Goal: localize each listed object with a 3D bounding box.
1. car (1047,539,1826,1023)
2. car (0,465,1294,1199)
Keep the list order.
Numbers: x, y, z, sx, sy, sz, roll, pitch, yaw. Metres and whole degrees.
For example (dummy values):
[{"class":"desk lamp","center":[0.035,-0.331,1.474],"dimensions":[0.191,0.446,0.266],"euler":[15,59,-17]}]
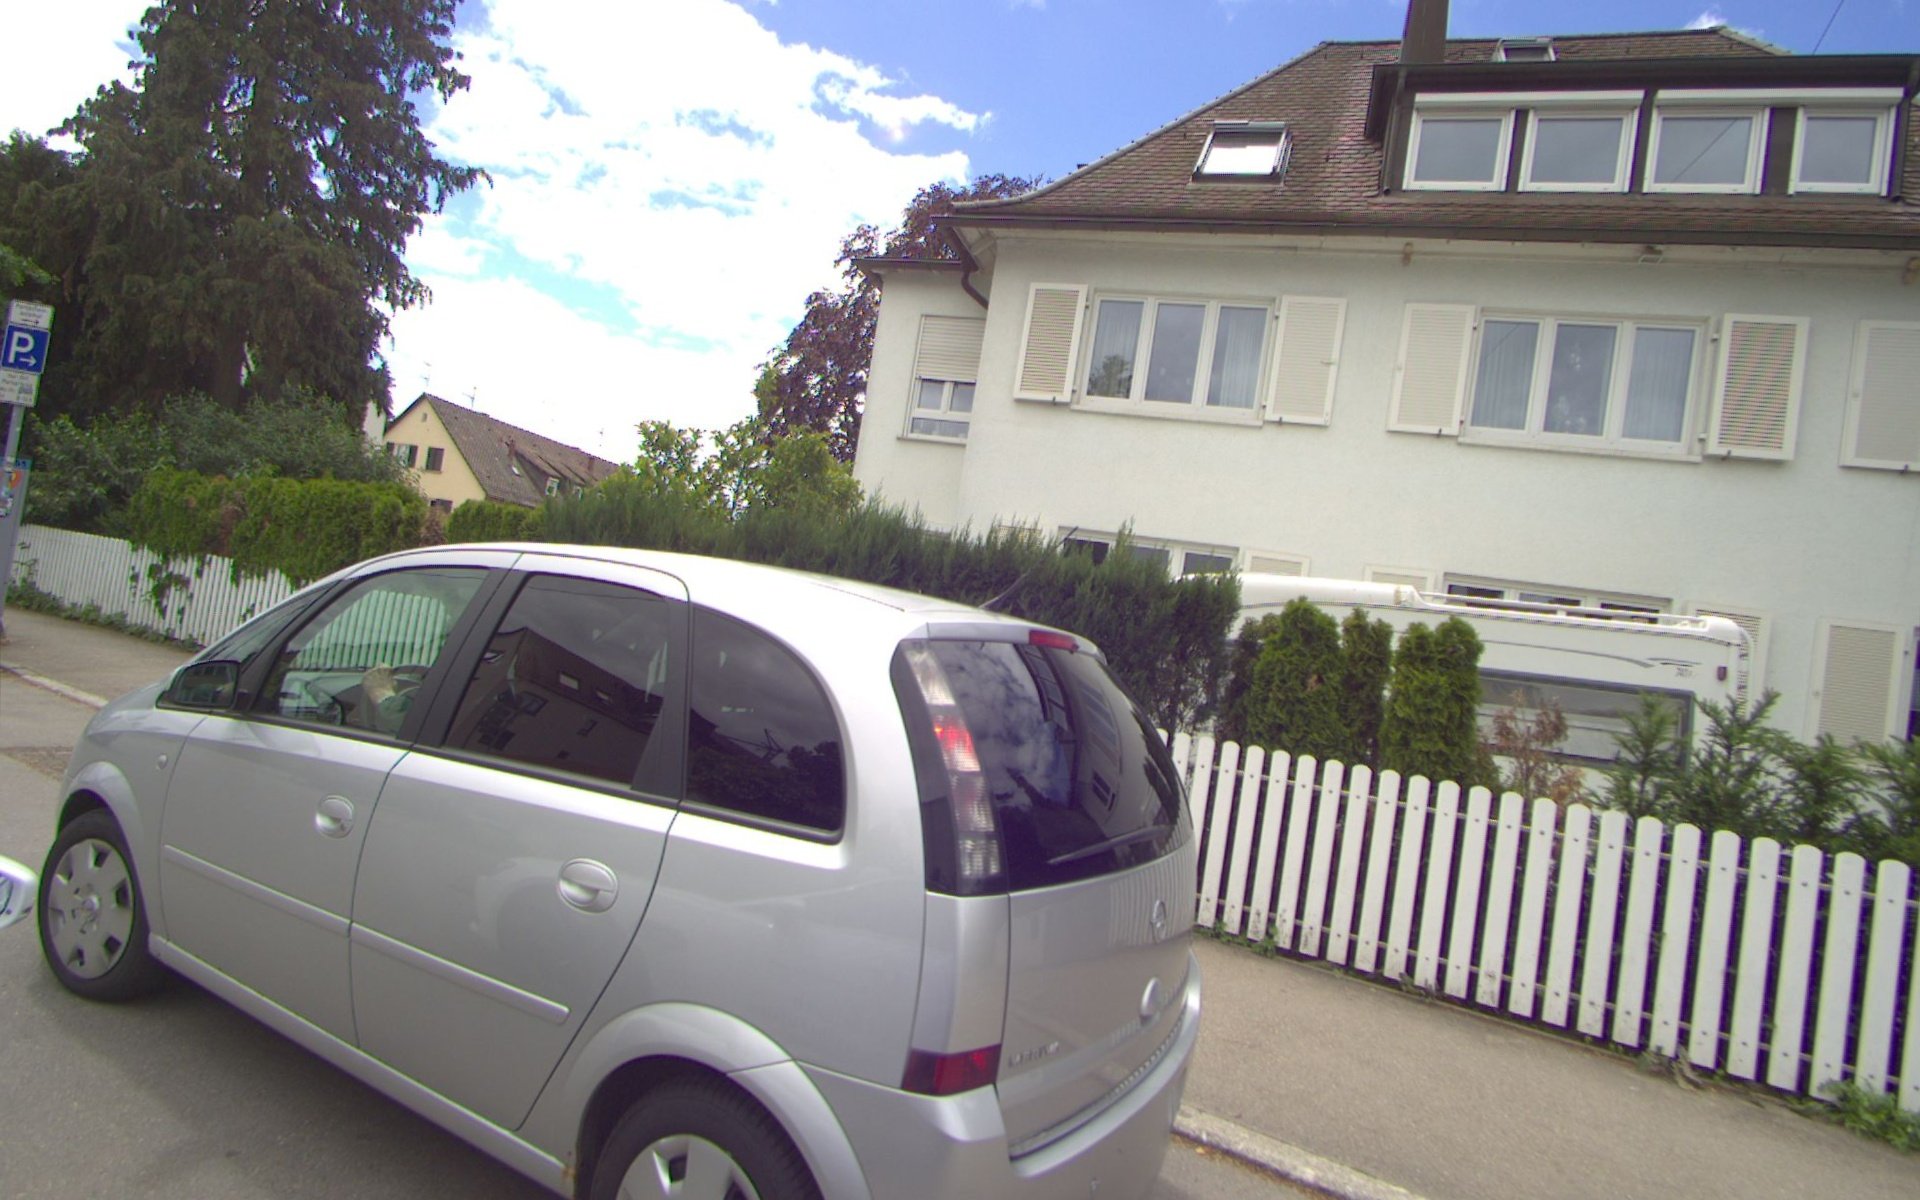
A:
[{"class":"car","center":[3.722,1.316,8.819],"dimensions":[5.090,2.708,2.511],"euler":[8,-4,21]},{"class":"car","center":[-1.218,0.627,3.229],"dimensions":[3.949,1.600,1.764],"euler":[7,-1,29]}]
